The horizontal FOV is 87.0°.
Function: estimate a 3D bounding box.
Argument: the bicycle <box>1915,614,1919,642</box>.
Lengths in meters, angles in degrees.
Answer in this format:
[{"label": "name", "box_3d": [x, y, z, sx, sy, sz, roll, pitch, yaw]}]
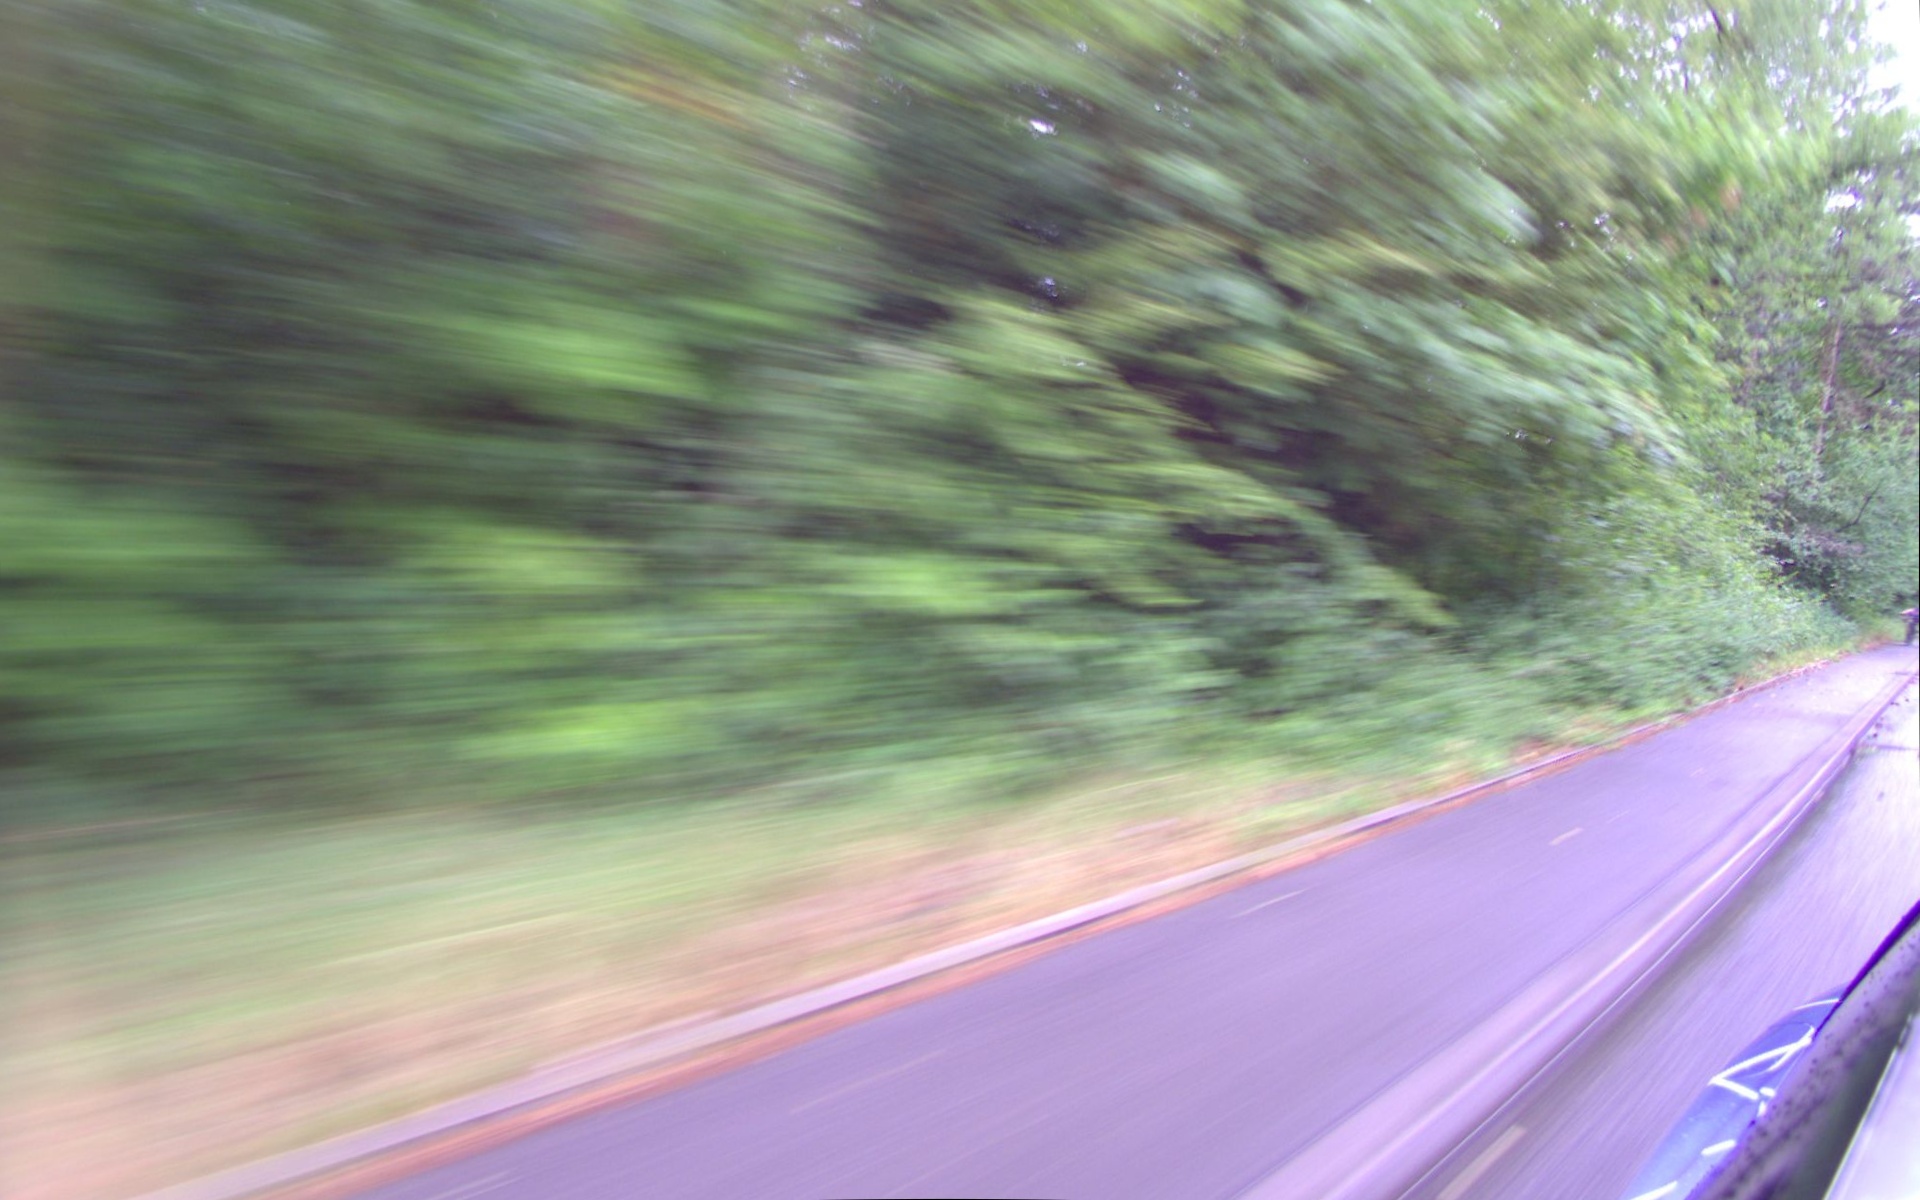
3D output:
[{"label": "bicycle", "box_3d": [30.718, 0.864, 32.091, 1.712, 0.858, 0.357, -2, 8, -41]}]
